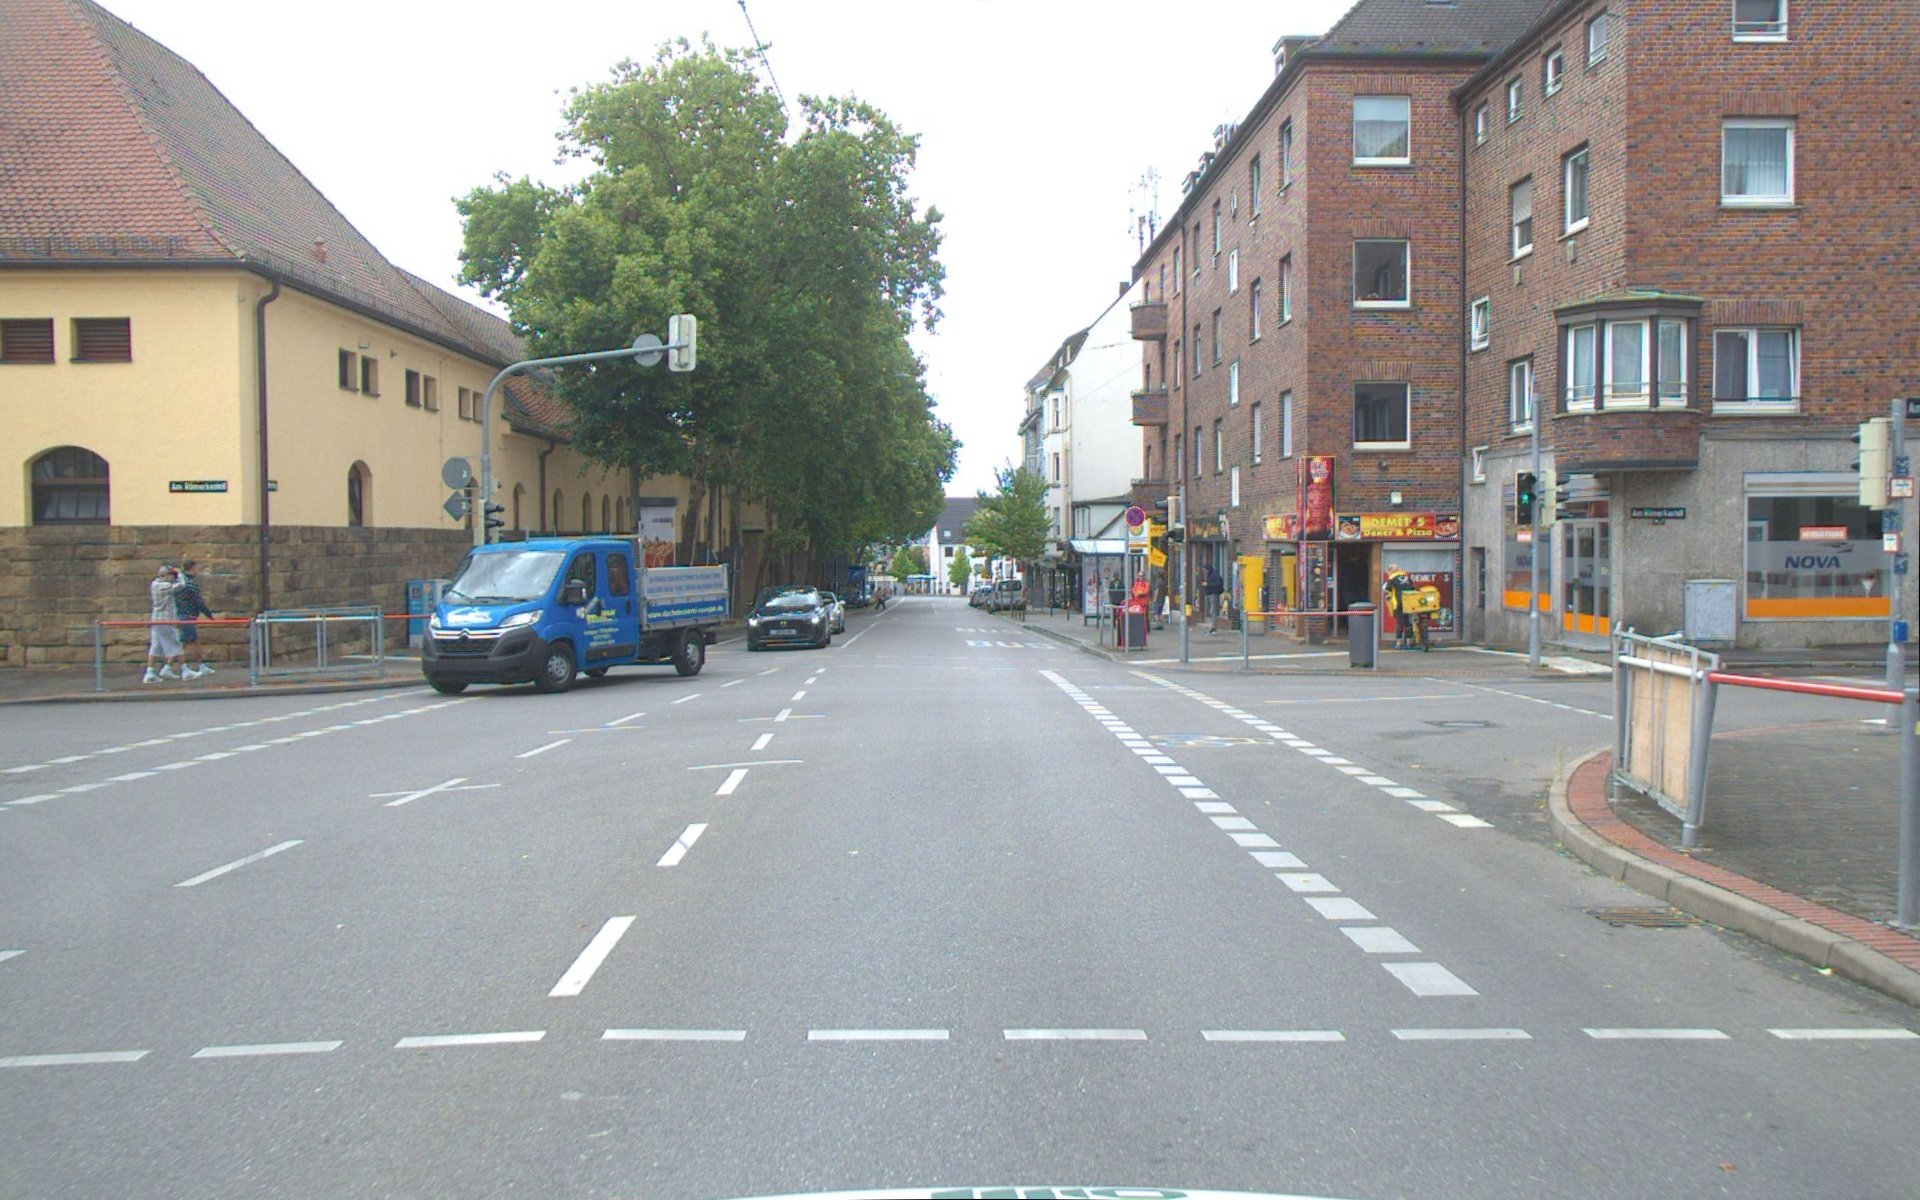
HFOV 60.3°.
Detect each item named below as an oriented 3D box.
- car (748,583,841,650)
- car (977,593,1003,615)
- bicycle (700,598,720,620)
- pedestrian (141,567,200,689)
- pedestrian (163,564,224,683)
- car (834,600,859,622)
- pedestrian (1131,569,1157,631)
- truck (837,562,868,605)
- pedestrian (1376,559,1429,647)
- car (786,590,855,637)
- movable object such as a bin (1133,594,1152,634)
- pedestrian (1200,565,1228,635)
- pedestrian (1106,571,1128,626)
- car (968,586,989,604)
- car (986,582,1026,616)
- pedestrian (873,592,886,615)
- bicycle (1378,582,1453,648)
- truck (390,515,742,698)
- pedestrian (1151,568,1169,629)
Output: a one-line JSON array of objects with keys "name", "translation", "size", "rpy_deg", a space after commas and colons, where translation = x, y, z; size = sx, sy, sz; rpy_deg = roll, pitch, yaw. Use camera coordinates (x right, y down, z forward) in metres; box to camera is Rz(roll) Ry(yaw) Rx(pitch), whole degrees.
[{"name": "car", "translation": [-3.794, 0.347, 38.504], "size": [1.668, 1.439, 4.192], "rpy_deg": [-2, 0, 1]}, {"name": "car", "translation": [2.173, 0.266, 121.389], "size": [1.635, 1.574, 3.753], "rpy_deg": [0, 0, -4]}, {"name": "bicycle", "translation": [-12.568, 0.444, 83.147], "size": [0.584, 1.110, 2.195], "rpy_deg": [2, 0, 0]}, {"name": "pedestrian", "translation": [-11.879, 0.409, 24.903], "size": [0.552, 1.808, 0.717], "rpy_deg": [0, 0, -2]}, {"name": "pedestrian", "translation": [-11.910, 0.359, 25.717], "size": [0.552, 1.808, 0.842], "rpy_deg": [0, 0, -2]}, {"name": "car", "translation": [-8.530, 0.816, 124.323], "size": [1.798, 1.605, 3.753], "rpy_deg": [0, 0, -4]}, {"name": "pedestrian", "translation": [5.053, 0.000, 45.438], "size": [0.553, 1.665, 0.681], "rpy_deg": [0, 0, 19]}, {"name": "truck", "translation": [-8.651, -1.311, 133.715], "size": [2.186, 3.405, 7.447], "rpy_deg": [0, 0, -2]}, {"name": "pedestrian", "translation": [8.707, 0.057, 32.564], "size": [0.772, 1.685, 0.772], "rpy_deg": [-3, 0, -1]}, {"name": "car", "translation": [-4.218, 0.409, 50.570], "size": [1.651, 1.298, 4.095], "rpy_deg": [-3, 0, 1]}, {"name": "movable object such as a bin", "translation": [4.976, 0.373, 45.124], "size": [0.443, 1.075, 0.410], "rpy_deg": [0, 0, 19]}, {"name": "pedestrian", "translation": [6.544, -0.001, 42.654], "size": [0.633, 1.780, 0.778], "rpy_deg": [0, 0, 4]}, {"name": "pedestrian", "translation": [5.028, -0.052, 53.042], "size": [0.656, 1.758, 0.764], "rpy_deg": [0, 0, 4]}, {"name": "car", "translation": [1.642, -0.484, 151.358], "size": [1.635, 1.574, 3.753], "rpy_deg": [0, 0, -4]}, {"name": "car", "translation": [2.698, -0.069, 97.965], "size": [1.954, 1.969, 4.915], "rpy_deg": [0, 0, -4]}, {"name": "pedestrian", "translation": [-5.602, 0.226, 115.186], "size": [0.665, 1.563, 0.605], "rpy_deg": [0, 0, -29]}, {"name": "bicycle", "translation": [8.784, 0.271, 31.969], "size": [0.744, 1.214, 2.391], "rpy_deg": [0, 0, -1]}, {"name": "truck", "translation": [-5.861, 0.055, 25.806], "size": [2.247, 2.469, 6.414], "rpy_deg": [-2, 0, 18]}, {"name": "pedestrian", "translation": [5.995, -0.048, 49.562], "size": [0.469, 1.796, 0.458], "rpy_deg": [0, 0, -1]}]
